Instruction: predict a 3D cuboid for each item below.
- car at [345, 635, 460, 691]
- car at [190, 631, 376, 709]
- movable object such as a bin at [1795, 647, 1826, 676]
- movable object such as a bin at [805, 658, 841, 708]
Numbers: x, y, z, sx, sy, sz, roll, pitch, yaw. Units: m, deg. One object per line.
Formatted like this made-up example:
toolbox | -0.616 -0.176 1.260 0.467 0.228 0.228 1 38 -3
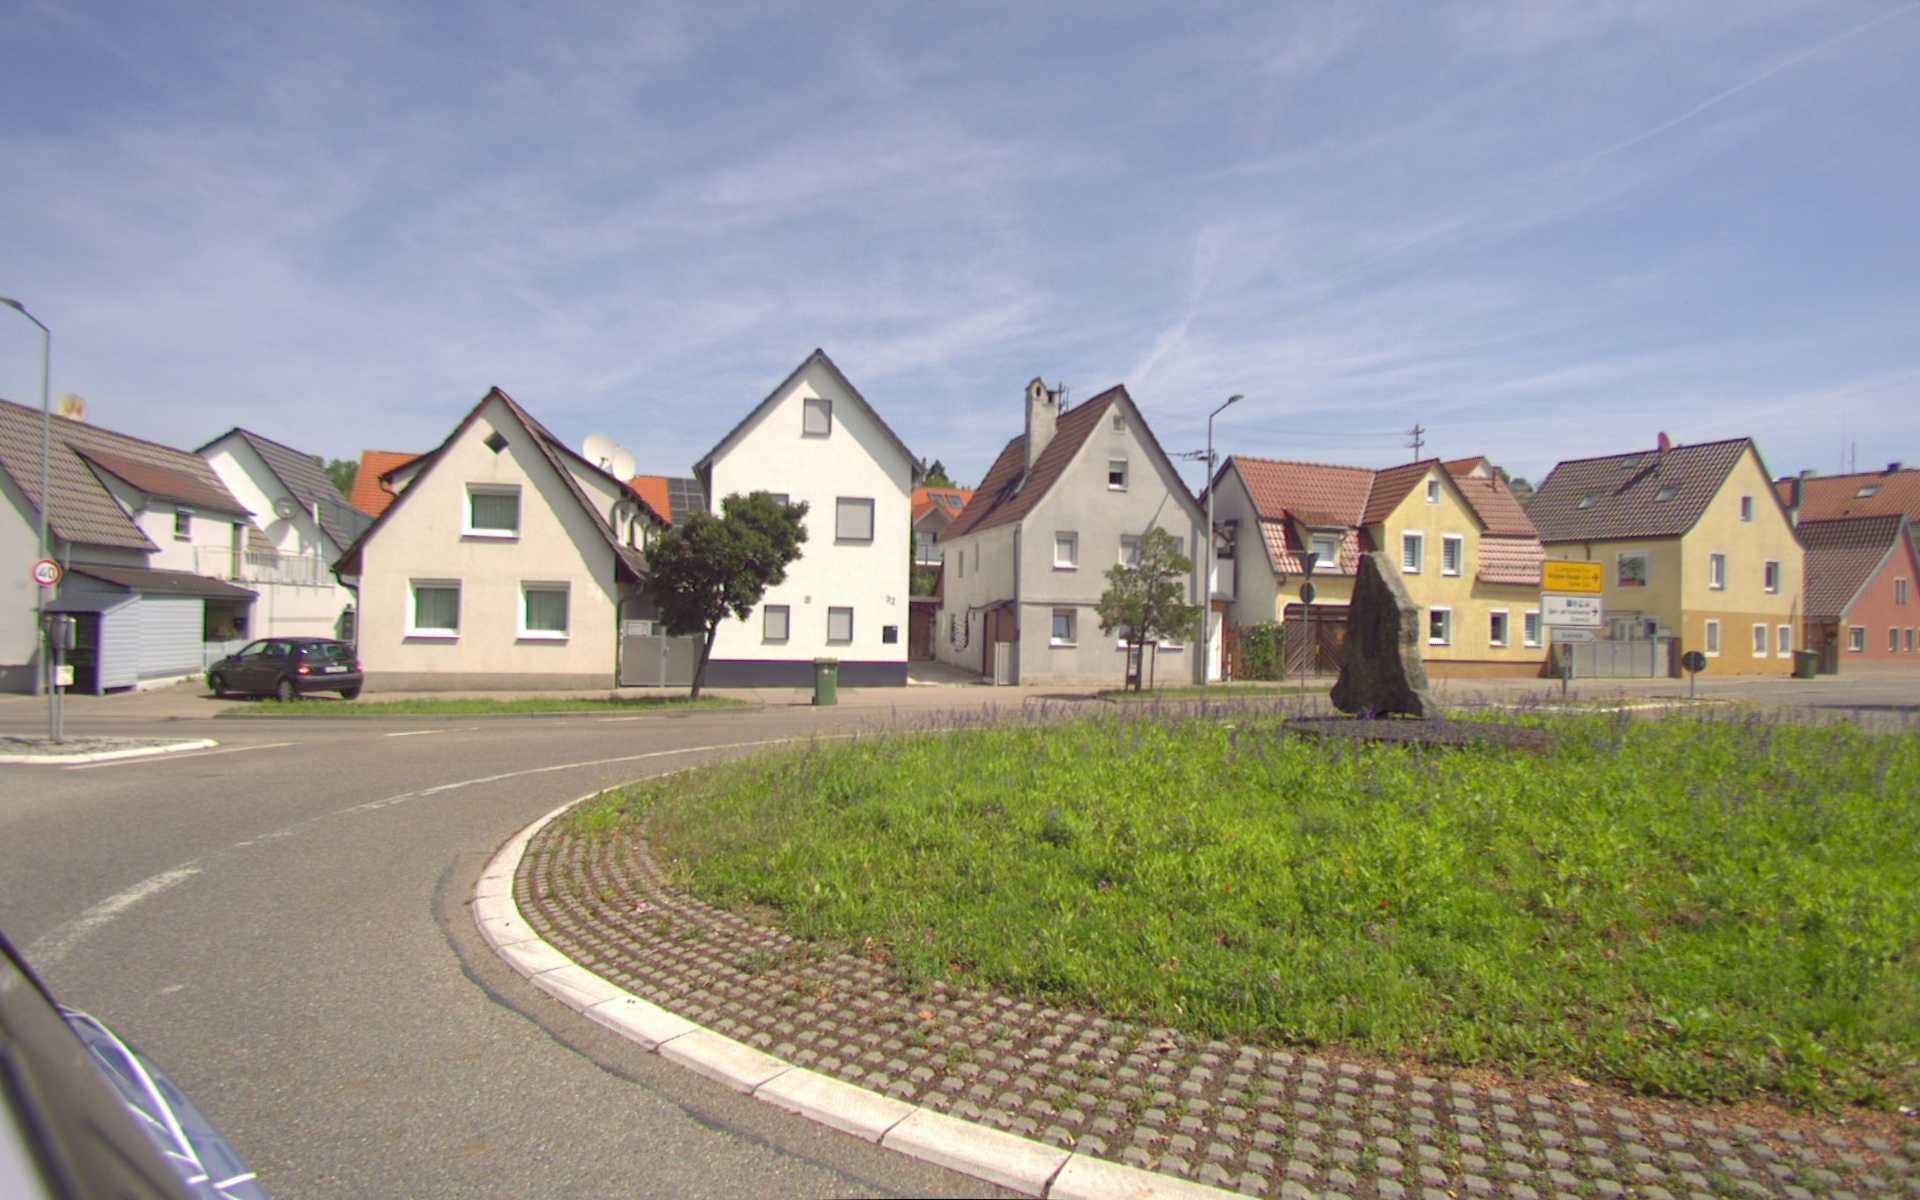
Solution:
car | -17.519 1.936 32.023 1.968 1.657 3.878 0 -2 -9
car | -15.455 1.542 23.115 3.823 1.452 1.765 2 1 24
movable object such as a bin | 31.873 2.308 37.915 0.664 1.060 0.701 1 -3 -32
movable object such as a bin | -3.046 1.828 22.503 0.569 1.056 0.906 1 -3 -22
